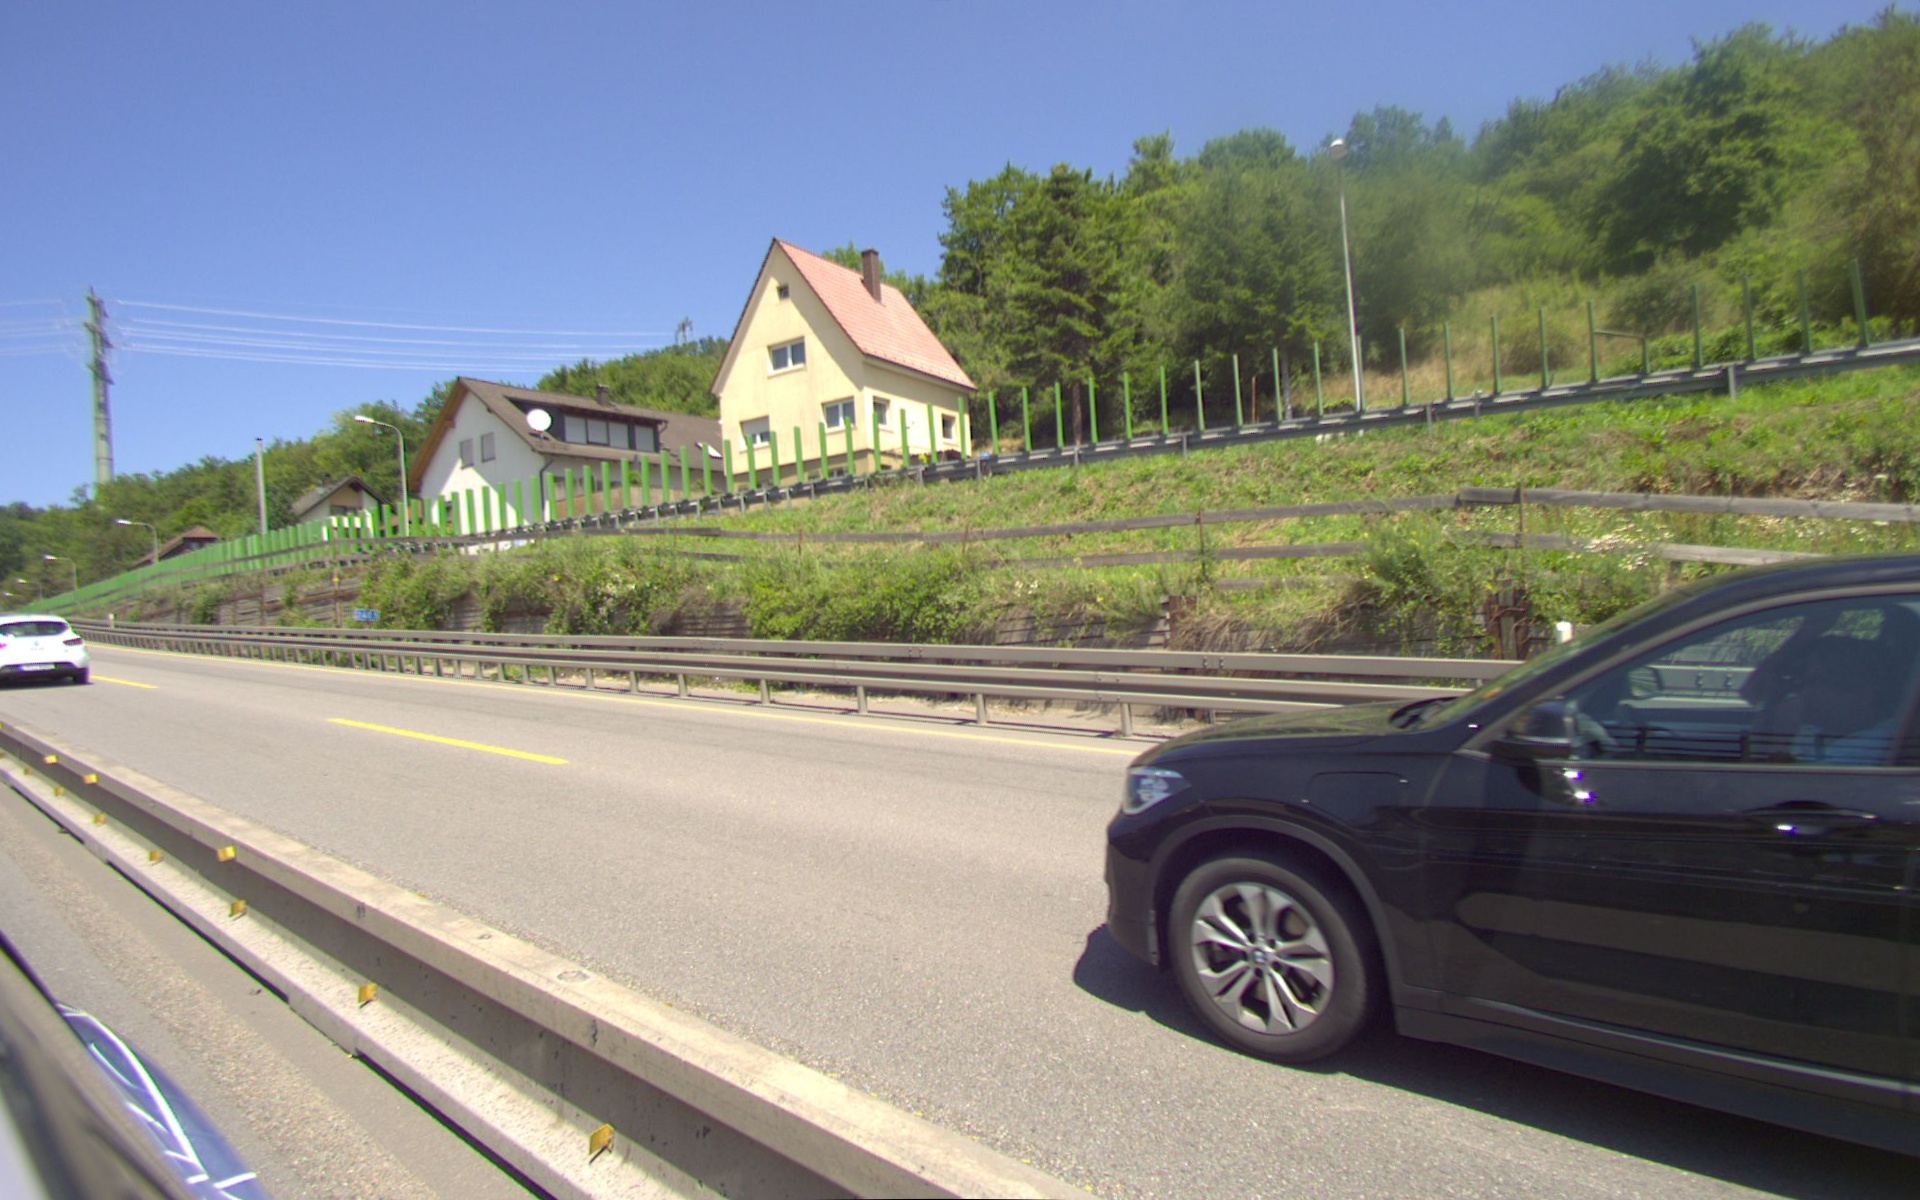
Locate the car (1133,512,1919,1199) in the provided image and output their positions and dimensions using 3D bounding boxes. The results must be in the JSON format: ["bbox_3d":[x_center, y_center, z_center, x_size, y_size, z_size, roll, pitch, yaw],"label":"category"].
[{"bbox_3d":[2.692,0.587,2.701,4.099,1.573,1.683,-1,0,39],"label":"car"}]

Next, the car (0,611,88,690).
[{"bbox_3d":[-19.590,1.002,20.965,3.745,1.497,1.674,-1,0,39],"label":"car"}]
